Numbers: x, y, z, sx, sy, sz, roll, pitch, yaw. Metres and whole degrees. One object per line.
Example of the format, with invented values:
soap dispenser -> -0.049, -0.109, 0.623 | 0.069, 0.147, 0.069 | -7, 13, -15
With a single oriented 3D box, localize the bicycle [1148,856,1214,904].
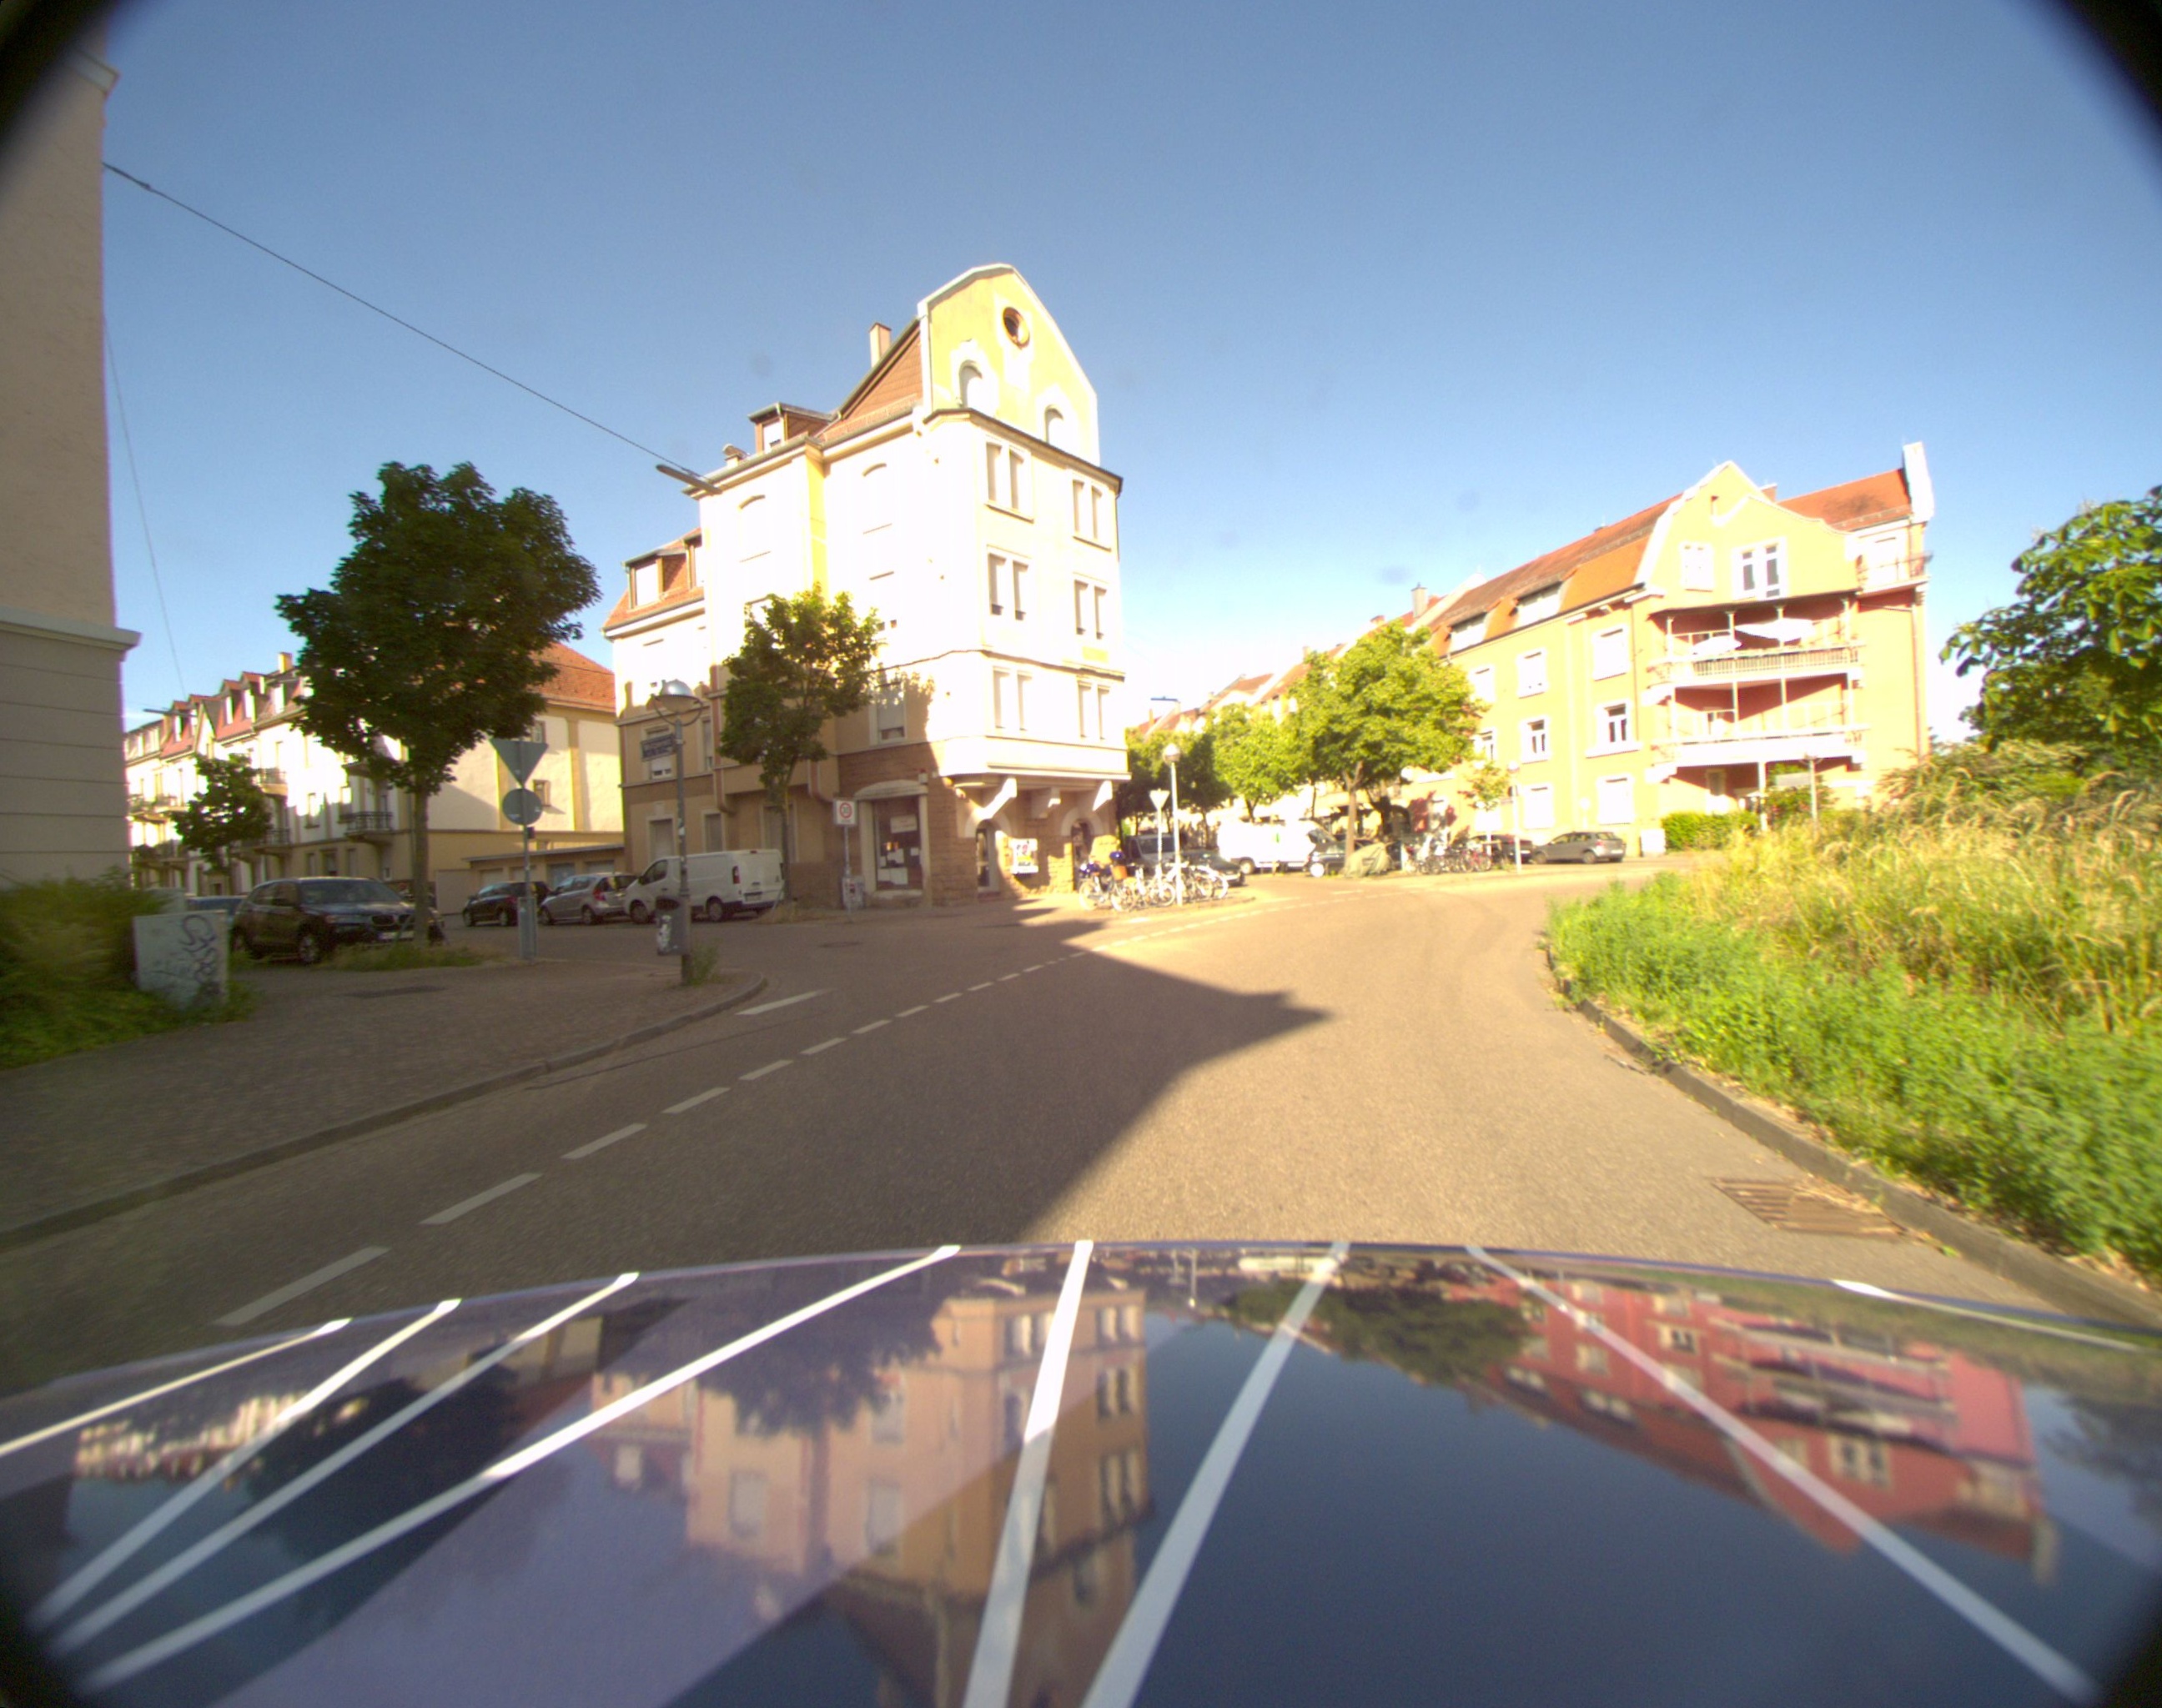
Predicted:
bicycle -> 2.596, 0.671, 19.800 | 1.692, 1.185, 0.452 | -2, 1, 43

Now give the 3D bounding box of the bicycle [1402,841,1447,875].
bicycle -> 12.690, 0.146, 28.119 | 0.538, 1.186, 1.677 | -4, 0, -15

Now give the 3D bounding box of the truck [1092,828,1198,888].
truck -> 2.663, 0.179, 33.844 | 2.141, 2.279, 6.611 | -4, 1, -18

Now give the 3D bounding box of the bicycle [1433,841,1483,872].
bicycle -> 14.132, 0.105, 28.537 | 0.657, 1.082, 1.727 | -4, 0, -16

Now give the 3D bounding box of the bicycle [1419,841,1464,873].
bicycle -> 13.439, 0.133, 28.368 | 0.589, 1.120, 1.600 | -4, 0, -15

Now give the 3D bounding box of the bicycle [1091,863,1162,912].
bicycle -> 1.075, 0.802, 18.406 | 0.537, 1.084, 1.874 | -4, 1, -39

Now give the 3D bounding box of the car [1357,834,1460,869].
car -> 14.518, -0.106, 33.850 | 3.916, 1.438, 1.689 | -2, 0, 8

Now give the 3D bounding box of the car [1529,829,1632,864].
car -> 22.189, -0.298, 33.910 | 1.689, 1.438, 3.541 | -2, 0, -17

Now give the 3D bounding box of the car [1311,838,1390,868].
car -> 13.807, -0.033, 39.045 | 3.382, 1.438, 1.688 | -2, 0, -3

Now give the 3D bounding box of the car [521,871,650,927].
car -> -15.666, 1.438, 24.013 | 3.729, 1.564, 1.641 | -3, 0, 26

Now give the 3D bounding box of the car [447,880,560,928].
car -> -19.719, 1.711, 25.943 | 3.326, 1.419, 1.641 | -3, 0, 26

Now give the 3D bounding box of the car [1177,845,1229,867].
car -> 8.791, 0.131, 54.664 | 3.376, 1.461, 1.691 | -2, 0, 21

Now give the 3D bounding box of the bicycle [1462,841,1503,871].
bicycle -> 15.264, 0.088, 28.907 | 0.419, 1.083, 1.572 | -4, 1, -14

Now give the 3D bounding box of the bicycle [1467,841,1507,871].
bicycle -> 15.644, 0.078, 29.299 | 0.419, 1.080, 1.524 | -4, 1, -13

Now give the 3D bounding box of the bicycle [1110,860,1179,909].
bicycle -> 1.552, 0.751, 18.823 | 0.639, 1.139, 1.692 | -4, 1, -39

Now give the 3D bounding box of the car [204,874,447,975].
car -> -14.605, 1.329, 14.680 | 4.337, 1.632, 1.912 | -3, 0, 26

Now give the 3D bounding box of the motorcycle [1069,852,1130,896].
motorcycle -> 0.636, 0.638, 25.442 | 0.698, 1.403, 2.255 | -1, 0, 43

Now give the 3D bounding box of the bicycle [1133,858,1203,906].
bicycle -> 2.202, 0.717, 19.379 | 1.692, 1.139, 0.618 | -2, 1, 43

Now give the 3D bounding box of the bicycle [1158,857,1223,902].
bicycle -> 2.880, 0.684, 20.120 | 1.692, 1.117, 0.484 | -2, 1, 43

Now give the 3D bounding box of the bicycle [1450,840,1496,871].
bicycle -> 14.773, 0.059, 28.674 | 0.500, 1.096, 1.648 | -4, 0, -14

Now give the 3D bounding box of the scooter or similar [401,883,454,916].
scooter or similar -> -29.219, 2.026, 33.981 | 1.349, 1.372, 1.337 | -3, -1, 27

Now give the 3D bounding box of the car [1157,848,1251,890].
car -> 4.490, 0.542, 28.414 | 1.689, 1.382, 3.915 | -4, 1, -20

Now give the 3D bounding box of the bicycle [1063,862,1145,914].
bicycle -> 0.522, 0.804, 17.841 | 0.701, 1.123, 1.863 | -5, 2, -45

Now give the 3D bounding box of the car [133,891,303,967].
car -> -19.157, 1.626, 16.861 | 3.654, 1.403, 1.705 | -3, 0, 29

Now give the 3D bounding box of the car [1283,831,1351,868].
car -> 12.790, -0.228, 41.389 | 3.378, 1.854, 1.690 | -2, 0, 12

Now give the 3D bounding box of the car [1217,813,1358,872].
car -> 10.113, -0.505, 37.299 | 6.361, 2.585, 2.107 | -2, 0, 24

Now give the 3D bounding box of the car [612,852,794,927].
car -> -10.855, 1.018, 21.825 | 4.551, 1.898, 2.145 | -3, 0, 23

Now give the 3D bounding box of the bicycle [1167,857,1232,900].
bicycle -> 3.179, 0.666, 20.520 | 0.484, 1.117, 1.714 | -4, 1, -45

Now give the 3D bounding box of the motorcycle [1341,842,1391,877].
motorcycle -> 10.740, 0.187, 28.610 | 1.712, 1.263, 0.537 | -2, 1, -12

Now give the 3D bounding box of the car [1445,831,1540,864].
car -> 20.837, -0.306, 38.676 | 1.689, 1.553, 4.289 | -2, 0, -17

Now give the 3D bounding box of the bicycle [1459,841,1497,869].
bicycle -> 16.043, 0.032, 30.740 | 0.419, 1.080, 1.524 | -4, 1, -13
